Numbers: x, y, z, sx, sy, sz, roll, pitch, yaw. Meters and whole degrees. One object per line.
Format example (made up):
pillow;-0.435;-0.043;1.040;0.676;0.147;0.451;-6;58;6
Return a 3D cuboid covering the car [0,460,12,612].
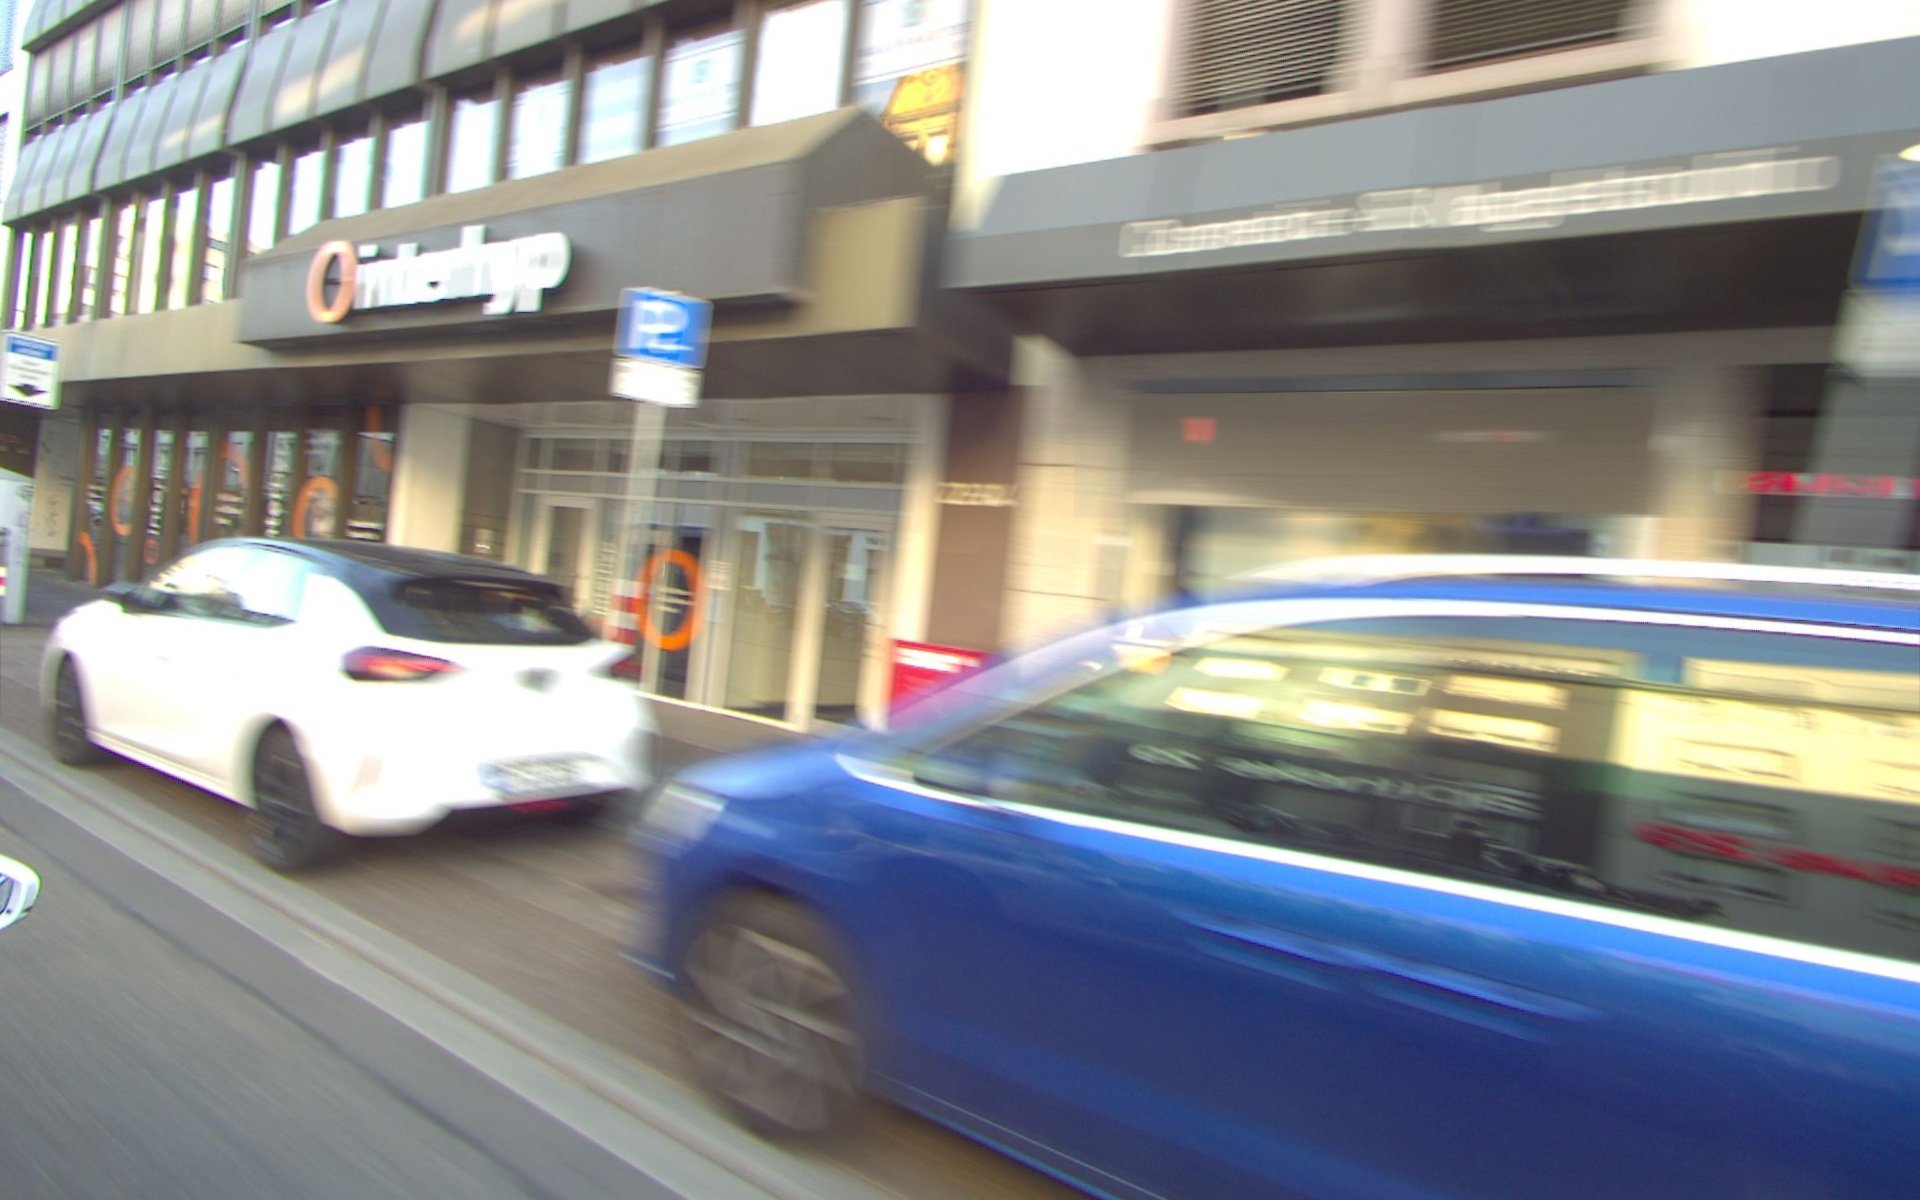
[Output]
car;-13.520;-0.987;12.164;4.595;1.758;1.983;7;2;34

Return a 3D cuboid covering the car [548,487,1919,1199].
car;1.149;0.759;2.706;4.490;1.740;1.914;6;2;34

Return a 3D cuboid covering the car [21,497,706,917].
car;-3.490;0.350;5.703;3.809;1.505;1.766;6;2;32
